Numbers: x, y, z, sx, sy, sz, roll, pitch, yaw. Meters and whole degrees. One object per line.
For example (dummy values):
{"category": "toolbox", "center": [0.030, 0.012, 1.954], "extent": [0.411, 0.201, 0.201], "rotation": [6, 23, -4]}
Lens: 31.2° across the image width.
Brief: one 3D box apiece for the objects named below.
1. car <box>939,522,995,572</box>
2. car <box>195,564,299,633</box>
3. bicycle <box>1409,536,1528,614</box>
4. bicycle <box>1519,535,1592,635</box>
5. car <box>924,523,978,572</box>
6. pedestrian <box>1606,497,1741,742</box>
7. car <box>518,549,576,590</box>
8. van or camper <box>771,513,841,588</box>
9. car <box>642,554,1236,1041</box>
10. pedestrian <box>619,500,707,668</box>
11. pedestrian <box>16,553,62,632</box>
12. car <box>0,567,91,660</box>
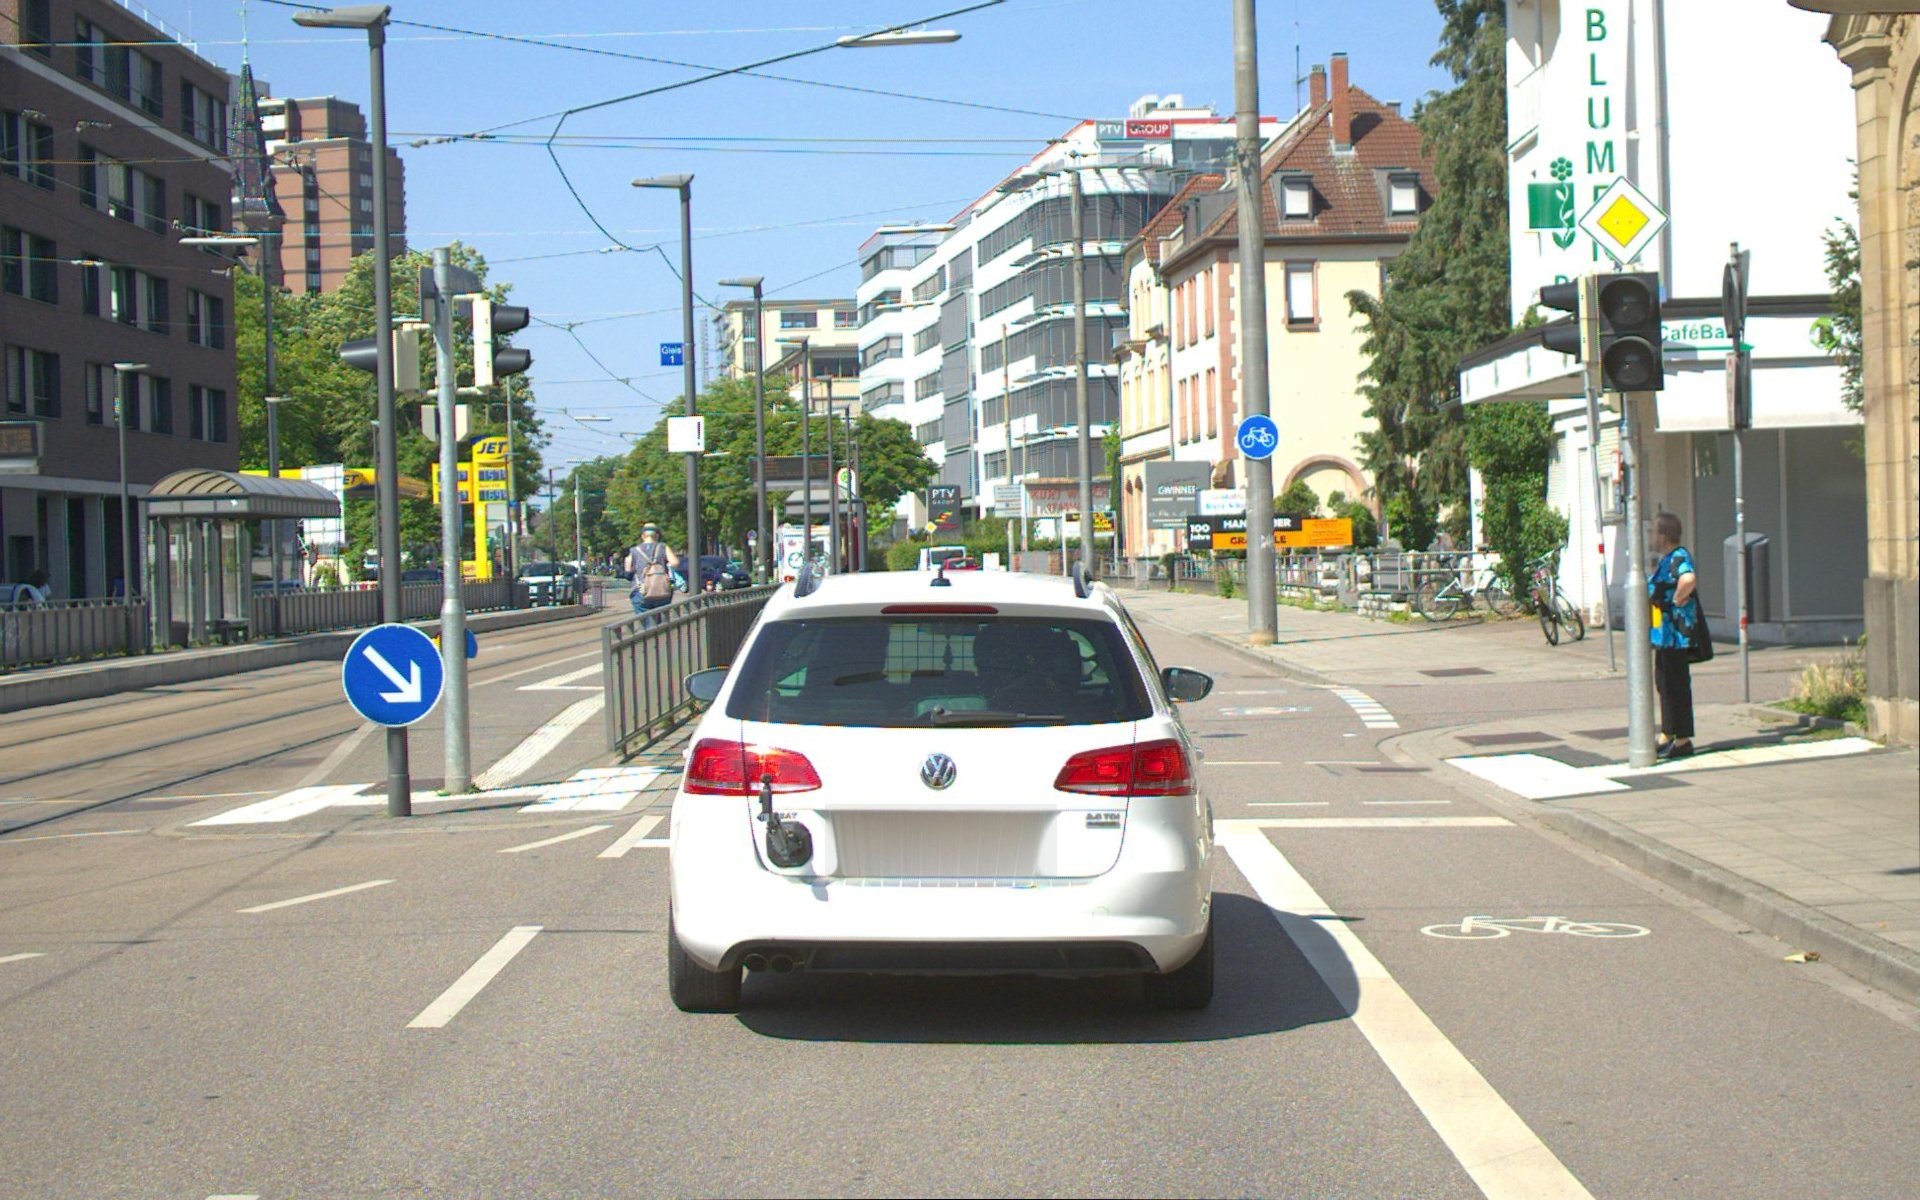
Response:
{"category": "car", "center": [0.280, -2.212, 143.453], "extent": [1.993, 2.007, 4.001], "rotation": [-2, 1, -4]}
{"category": "car", "center": [-16.333, -0.056, 78.902], "extent": [1.572, 1.454, 3.935], "rotation": [-2, 1, -1]}
{"category": "bicycle", "center": [7.785, -0.381, 52.679], "extent": [1.712, 1.126, 0.525], "rotation": [-2, 1, 2]}
{"category": "bicycle", "center": [7.165, -0.190, 41.311], "extent": [0.726, 1.135, 2.193], "rotation": [-2, 1, 13]}
{"category": "car", "center": [-0.397, -2.275, 148.880], "extent": [1.993, 2.007, 4.001], "rotation": [-2, 1, -4]}
{"category": "pedestrian", "center": [4.533, 0.114, 21.850], "extent": [0.779, 1.505, 0.858], "rotation": [-2, 1, 12]}
{"category": "car", "center": [-15.615, -1.152, 130.116], "extent": [1.668, 1.461, 3.773], "rotation": [-2, 1, 0]}
{"category": "van or camper", "center": [-6.859, -2.237, 153.417], "extent": [2.943, 3.169, 6.614], "rotation": [-2, 1, -2]}
{"category": "car", "center": [-0.046, 0.557, 12.099], "extent": [1.753, 1.413, 3.853], "rotation": [0, 1, 1]}
{"category": "pedestrian", "center": [-3.274, -0.181, 37.994], "extent": [0.826, 1.803, 0.833], "rotation": [-2, 1, 1]}
{"category": "pedestrian", "center": [-21.314, -0.180, 79.533], "extent": [0.725, 1.784, 0.964], "rotation": [-2, 1, 0]}
{"category": "car", "center": [-15.767, 0.224, 57.401], "extent": [1.572, 1.454, 3.738], "rotation": [-2, 1, -1]}
